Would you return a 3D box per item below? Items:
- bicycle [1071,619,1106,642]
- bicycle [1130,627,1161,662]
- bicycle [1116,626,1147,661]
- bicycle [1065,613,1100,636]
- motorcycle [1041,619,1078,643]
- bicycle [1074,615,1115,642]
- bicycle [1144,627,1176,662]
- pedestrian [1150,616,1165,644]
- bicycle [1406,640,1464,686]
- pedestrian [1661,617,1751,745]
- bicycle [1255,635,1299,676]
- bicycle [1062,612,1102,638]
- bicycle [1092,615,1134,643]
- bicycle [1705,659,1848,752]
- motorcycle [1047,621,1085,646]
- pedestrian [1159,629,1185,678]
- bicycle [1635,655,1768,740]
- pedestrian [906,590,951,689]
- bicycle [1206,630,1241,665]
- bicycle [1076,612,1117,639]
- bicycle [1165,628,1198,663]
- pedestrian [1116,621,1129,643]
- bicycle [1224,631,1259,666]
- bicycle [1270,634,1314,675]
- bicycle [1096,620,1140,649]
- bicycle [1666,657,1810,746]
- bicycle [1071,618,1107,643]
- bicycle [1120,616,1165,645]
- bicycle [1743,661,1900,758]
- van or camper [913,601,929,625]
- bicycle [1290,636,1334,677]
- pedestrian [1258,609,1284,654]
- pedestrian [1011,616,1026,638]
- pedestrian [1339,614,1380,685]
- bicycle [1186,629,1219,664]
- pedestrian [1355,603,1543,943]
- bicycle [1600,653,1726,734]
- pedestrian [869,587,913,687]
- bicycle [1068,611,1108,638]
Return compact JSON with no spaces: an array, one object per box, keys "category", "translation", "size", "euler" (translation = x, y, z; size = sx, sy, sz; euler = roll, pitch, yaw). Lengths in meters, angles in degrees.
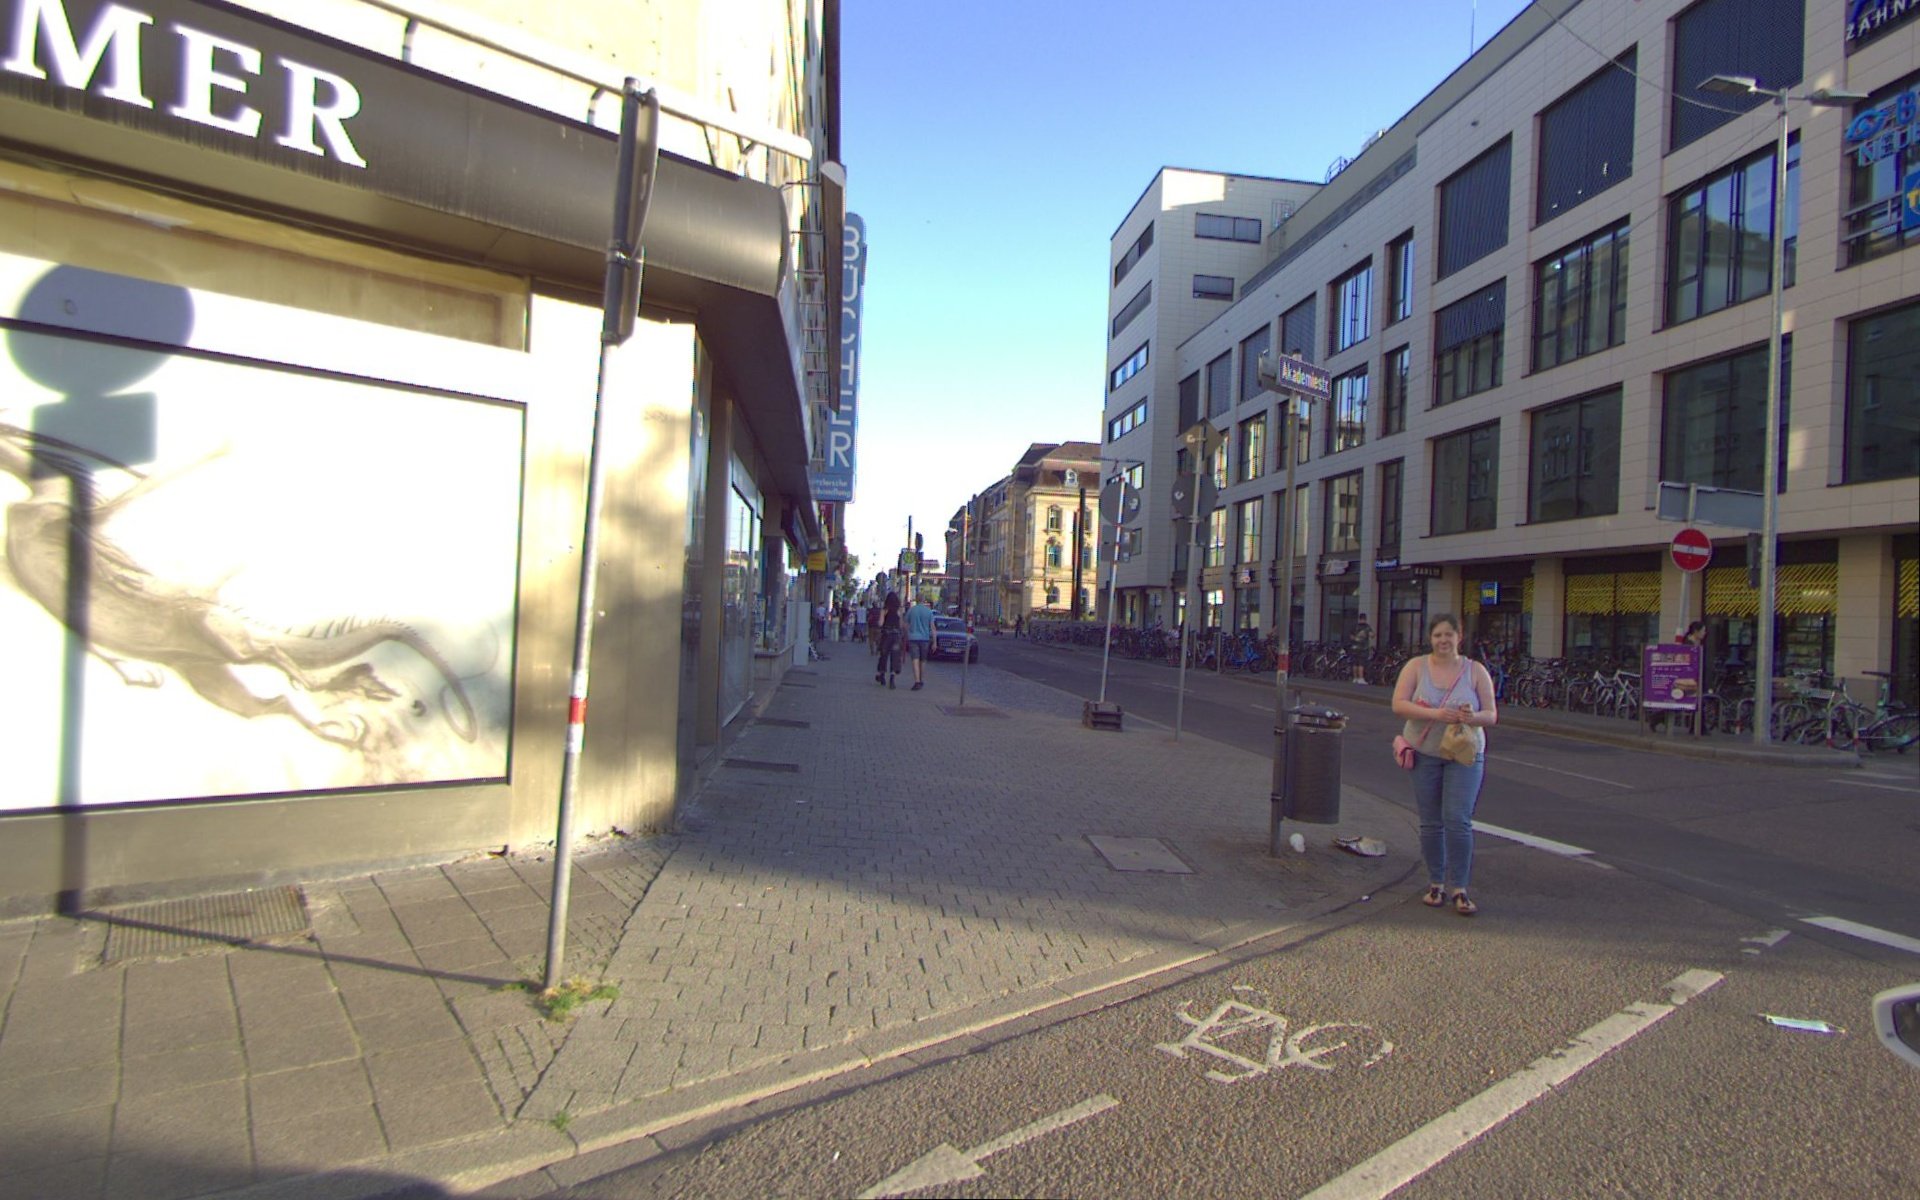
[{"category":"bicycle","translation":[7.546,1.782,58.922],"size":[1.947,1.271,0.511],"euler":[3,0,-16]},{"category":"bicycle","translation":[7.333,1.729,39.736],"size":[0.504,1.271,1.975],"euler":[3,0,-9]},{"category":"bicycle","translation":[6.723,1.692,39.448],"size":[0.504,1.271,1.975],"euler":[3,0,-9]},{"category":"bicycle","translation":[7.328,1.477,60.056],"size":[1.947,1.271,0.511],"euler":[3,0,-16]},{"category":"motorcycle","translation":[5.558,1.735,56.202],"size":[1.947,1.271,0.511],"euler":[3,0,-16]},{"category":"bicycle","translation":[6.828,1.459,50.941],"size":[1.947,1.271,0.511],"euler":[3,0,-16]},{"category":"bicycle","translation":[7.924,1.740,39.870],"size":[0.504,1.271,1.975],"euler":[3,0,-9]},{"category":"pedestrian","translation":[12.675,1.905,64.421],"size":[0.672,1.718,0.643],"euler":[2,0,-8]},{"category":"bicycle","translation":[14.769,1.932,31.283],"size":[0.601,1.271,1.976],"euler":[3,0,-8]},{"category":"pedestrian","translation":[10.364,1.103,13.961],"size":[0.614,1.680,0.861],"euler":[3,0,-43]},{"category":"bicycle","translation":[10.796,1.874,34.262],"size":[0.504,1.271,1.975],"euler":[3,0,-9]},{"category":"bicycle","translation":[6.408,1.316,52.725],"size":[1.947,1.271,0.511],"euler":[3,0,-16]},{"category":"bicycle","translation":[7.420,1.412,48.676],"size":[1.947,1.271,0.511],"euler":[3,0,-16]},{"category":"bicycle","translation":[12.363,1.596,15.218],"size":[1.944,1.271,0.512],"euler":[3,0,-11]},{"category":"motorcycle","translation":[5.811,1.840,54.902],"size":[1.947,1.271,0.511],"euler":[3,0,-16]},{"category":"pedestrian","translation":[7.732,1.955,36.665],"size":[0.672,1.718,0.643],"euler":[2,0,-8]},{"category":"bicycle","translation":[12.241,1.607,16.595],"size":[1.943,1.271,0.512],"euler":[3,0,-9]},{"category":"pedestrian","translation":[-0.571,0.700,18.096],"size":[0.653,1.730,0.802],"euler":[3,0,-7]},{"category":"bicycle","translation":[10.527,1.897,40.178],"size":[0.504,1.271,1.975],"euler":[3,0,-9]},{"category":"bicycle","translation":[6.815,1.267,50.052],"size":[1.947,1.271,0.511],"euler":[3,0,-16]},{"category":"bicycle","translation":[8.848,1.813,40.155],"size":[0.504,1.271,1.975],"euler":[3,0,-9]},{"category":"pedestrian","translation":[11.079,2.203,68.501],"size":[0.672,1.444,0.643],"euler":[2,0,-8]},{"category":"bicycle","translation":[11.284,1.927,40.344],"size":[0.504,1.271,1.975],"euler":[3,0,-9]},{"category":"bicycle","translation":[11.440,1.874,34.670],"size":[0.504,1.271,1.975],"euler":[3,0,-9]},{"category":"bicycle","translation":[7.498,1.634,47.613],"size":[1.947,1.271,0.511],"euler":[3,0,-16]},{"category":"bicycle","translation":[12.257,1.596,15.833],"size":[1.942,1.271,0.513],"euler":[3,0,-7]},{"category":"bicycle","translation":[7.360,1.745,57.460],"size":[1.947,1.271,0.511],"euler":[3,0,-16]},{"category":"bicycle","translation":[8.502,1.416,46.755],"size":[1.943,1.271,0.512],"euler":[3,0,-9]},{"category":"bicycle","translation":[12.512,1.594,14.596],"size":[2.008,1.271,0.581],"euler":[3,0,-11]},{"category":"van or camper","translation":[-5.577,1.794,143.866],"size":[1.961,3.317,5.162],"euler":[2,0,-1]},{"category":"bicycle","translation":[12.128,1.921,34.675],"size":[0.504,1.271,1.975],"euler":[3,0,-9]},{"category":"pedestrian","translation":[12.007,1.216,38.813],"size":[0.672,1.718,0.643],"euler":[2,0,-8]},{"category":"pedestrian","translation":[3.923,1.788,67.473],"size":[0.907,1.447,0.402],"euler":[2,0,-12]},{"category":"pedestrian","translation":[10.012,1.229,25.200],"size":[0.671,1.718,0.644],"euler":[2,0,-5]},{"category":"bicycle","translation":[9.677,1.837,40.166],"size":[0.504,1.271,1.975],"euler":[3,0,-9]},{"category":"pedestrian","translation":[2.597,0.858,5.416],"size":[0.789,1.634,0.734],"euler":[3,0,23]},{"category":"bicycle","translation":[12.163,1.615,17.379],"size":[1.944,1.271,0.512],"euler":[3,0,-10]},{"category":"pedestrian","translation":[-1.251,0.661,18.077],"size":[0.653,1.730,0.802],"euler":[3,0,-7]},{"category":"bicycle","translation":[6.620,1.263,52.020],"size":[1.947,1.271,0.511],"euler":[3,0,-16]}]
